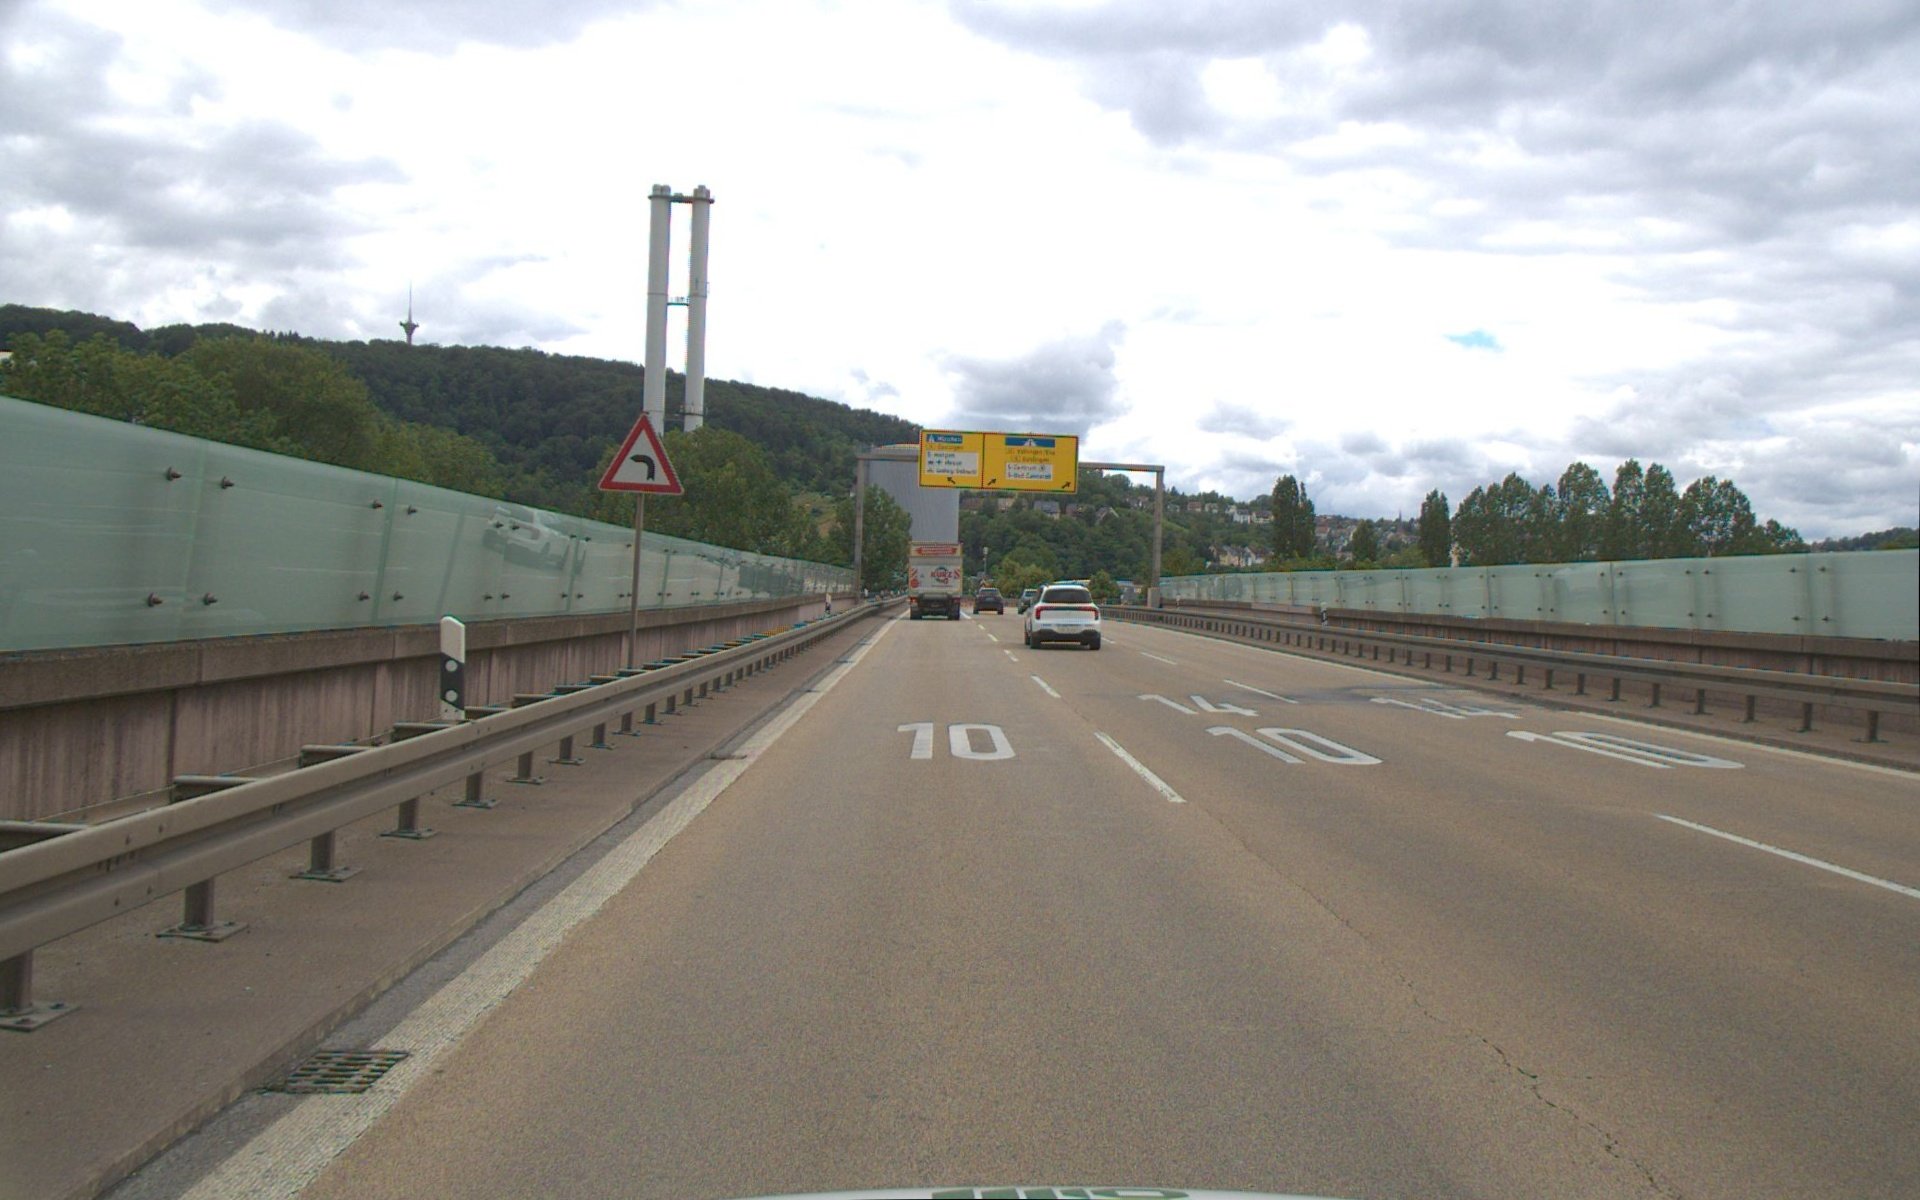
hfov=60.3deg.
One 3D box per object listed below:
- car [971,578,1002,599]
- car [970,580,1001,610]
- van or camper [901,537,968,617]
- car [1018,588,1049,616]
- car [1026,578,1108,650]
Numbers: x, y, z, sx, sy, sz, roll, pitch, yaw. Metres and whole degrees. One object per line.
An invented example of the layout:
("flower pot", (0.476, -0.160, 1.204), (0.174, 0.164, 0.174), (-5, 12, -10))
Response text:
("car", (2.664, -1.137, 163.793), (2.420, 2.014, 5.164), (0, 0, 8))
("car", (1.608, -0.346, 105.881), (1.884, 1.816, 4.113), (1, 1, 0))
("van or camper", (-1.167, -1.074, 80.268), (3.058, 3.641, 8.550), (1, 0, 0))
("car", (4.976, 0.147, 111.999), (1.885, 1.816, 4.113), (1, 1, -1))
("car", (2.825, 0.323, 44.315), (1.884, 1.816, 4.113), (1, 1, 0))
